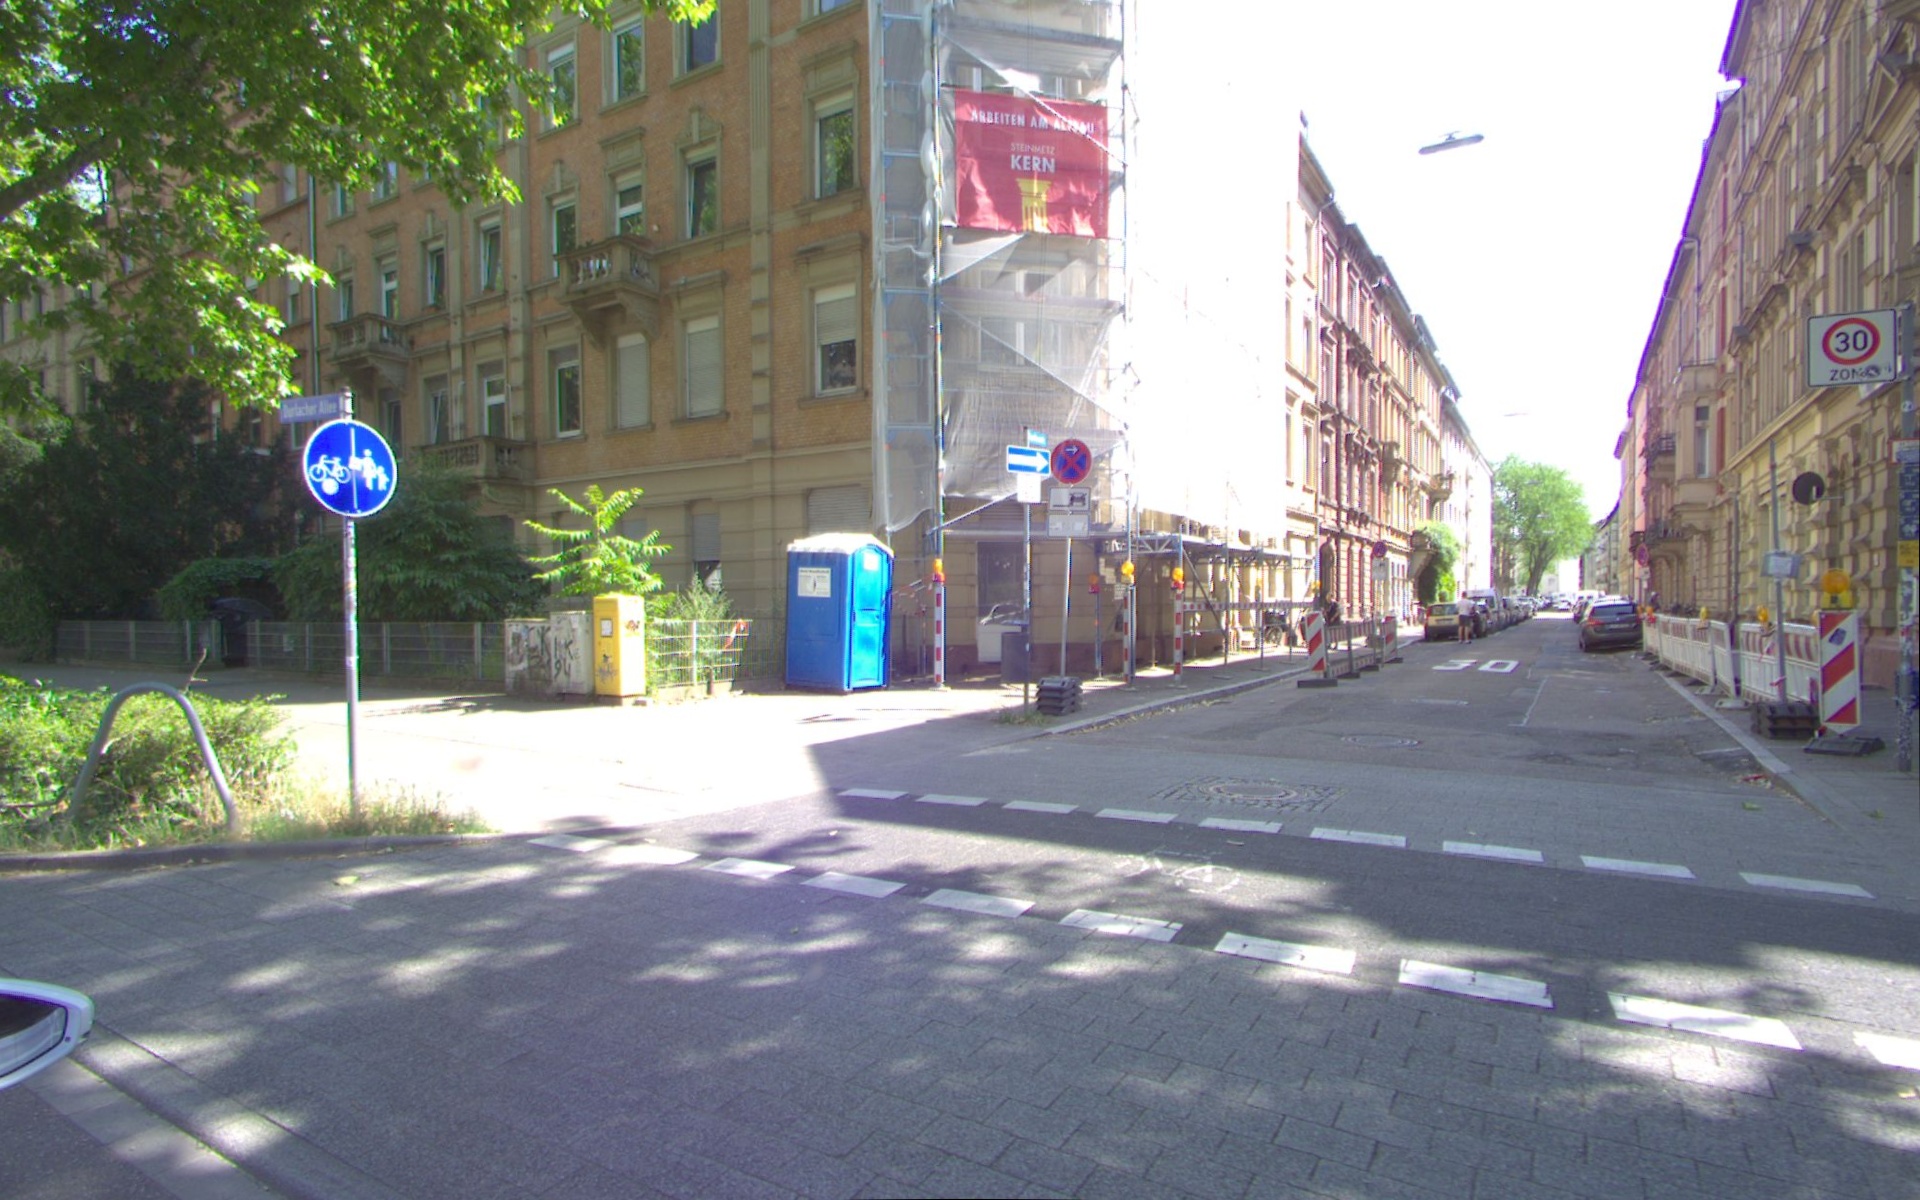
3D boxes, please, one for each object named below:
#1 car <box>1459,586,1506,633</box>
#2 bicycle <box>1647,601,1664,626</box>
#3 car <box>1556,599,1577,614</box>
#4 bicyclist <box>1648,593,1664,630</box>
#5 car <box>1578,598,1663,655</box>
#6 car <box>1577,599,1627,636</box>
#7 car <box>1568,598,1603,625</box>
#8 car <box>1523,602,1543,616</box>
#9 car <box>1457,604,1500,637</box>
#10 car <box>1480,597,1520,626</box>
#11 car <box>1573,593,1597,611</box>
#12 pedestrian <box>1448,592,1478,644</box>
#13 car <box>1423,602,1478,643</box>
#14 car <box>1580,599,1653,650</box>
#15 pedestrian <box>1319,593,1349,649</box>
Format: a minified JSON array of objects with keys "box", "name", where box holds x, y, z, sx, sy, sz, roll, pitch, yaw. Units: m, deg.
[{"box":[28.177,0.515,53.922,1.886,2.405,4.224,0,0,33],"name":"car"},{"box":[27.908,0.535,40.190,0.531,0.991,1.301,0,0,35],"name":"bicycle"},{"box":[70.477,0.724,116.365,1.971,1.762,3.979,0,0,31],"name":"car"},{"box":[27.976,0.468,40.270,0.526,1.473,0.458,0,1,36],"name":"bicyclist"},{"box":[19.631,0.740,29.916,1.971,1.572,3.979,0,0,31],"name":"car"},{"box":[31.682,0.832,49.515,1.971,1.762,3.979,0,0,31],"name":"car"},{"box":[42.943,0.754,68.766,1.971,1.762,3.979,0,0,31],"name":"car"},{"box":[58.202,0.912,101.703,1.646,1.420,3.343,0,0,32],"name":"car"},{"box":[25.687,0.977,49.529,1.702,1.549,3.478,0,0,30],"name":"car"},{"box":[34.154,0.717,63.260,1.886,1.732,4.139,0,0,33],"name":"car"},{"box":[63.293,0.239,101.470,1.971,1.762,3.979,0,0,31],"name":"car"},{"box":[18.053,0.638,35.942,0.922,1.822,1.034,0,1,29],"name":"pedestrian"},{"box":[19.550,0.855,39.850,1.702,1.549,3.478,0,0,30],"name":"car"},{"box":[22.960,0.813,35.138,1.971,1.661,3.979,0,0,31],"name":"car"},{"box":[11.731,0.651,31.398,0.843,1.748,0.834,0,0,19],"name":"pedestrian"}]
